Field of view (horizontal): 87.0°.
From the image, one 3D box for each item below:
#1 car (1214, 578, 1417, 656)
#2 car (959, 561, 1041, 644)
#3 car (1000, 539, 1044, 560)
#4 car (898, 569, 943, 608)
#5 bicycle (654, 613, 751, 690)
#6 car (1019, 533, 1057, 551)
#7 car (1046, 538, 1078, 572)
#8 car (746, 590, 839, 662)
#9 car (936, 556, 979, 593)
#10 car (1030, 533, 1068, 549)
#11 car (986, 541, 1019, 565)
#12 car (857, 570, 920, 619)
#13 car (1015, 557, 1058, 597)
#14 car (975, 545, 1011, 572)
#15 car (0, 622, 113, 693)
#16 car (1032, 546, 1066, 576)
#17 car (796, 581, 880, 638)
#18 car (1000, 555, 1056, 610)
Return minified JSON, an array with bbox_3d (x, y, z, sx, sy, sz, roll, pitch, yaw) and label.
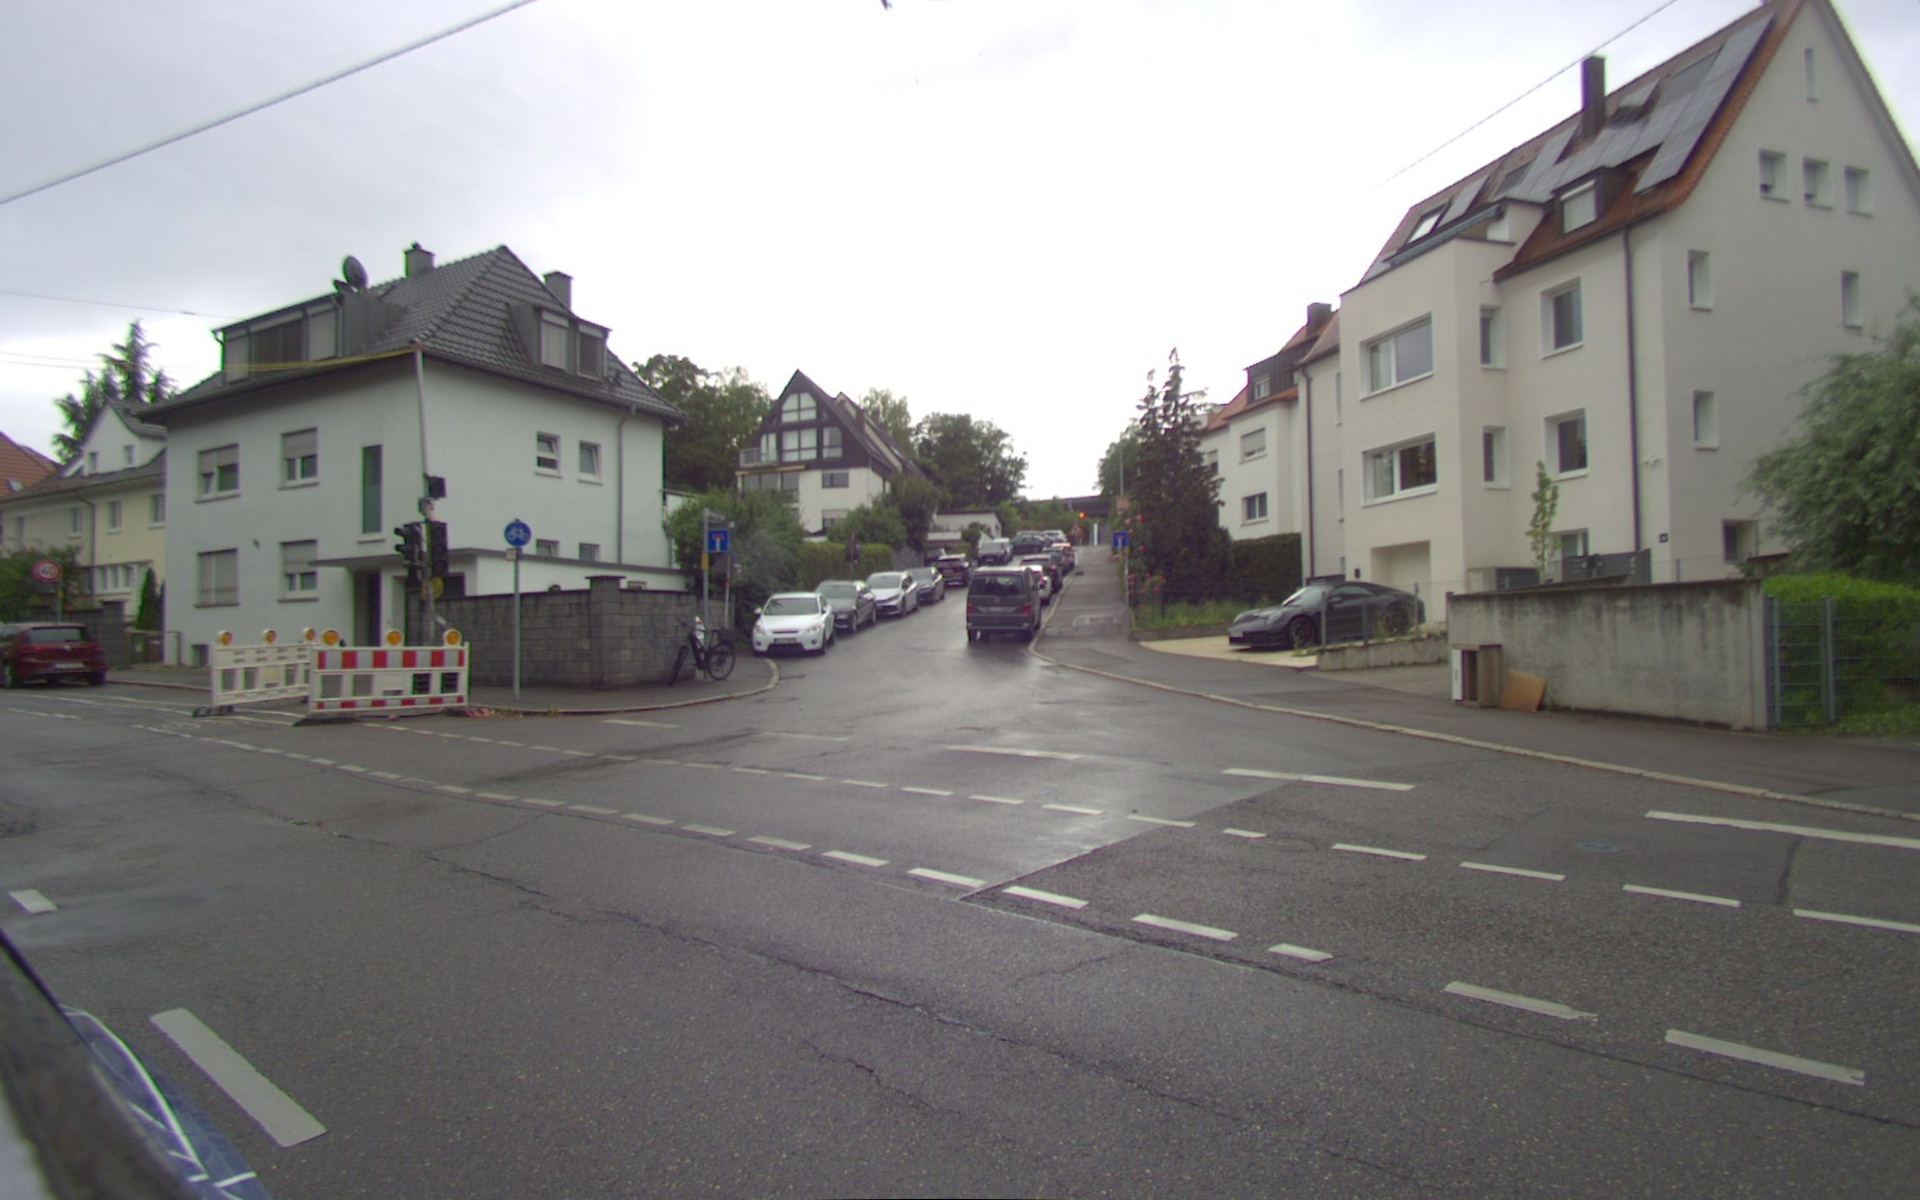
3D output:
[{"bbox_3d":[7.650,0.346,21.845,3.857,1.342,1.572,-4,1,-16],"label":"car"},{"bbox_3d":[1.215,-0.004,28.878,1.893,1.950,3.789,-2,5,9],"label":"car"},{"bbox_3d":[5.135,-4.213,83.770,3.572,1.510,1.578,-2,5,7],"label":"car"},{"bbox_3d":[-1.622,-0.519,42.600,1.320,1.400,3.497,-1,5,7],"label":"car"},{"bbox_3d":[-4.694,0.913,18.546,0.705,1.321,1.713,-1,0,33],"label":"bicycle"},{"bbox_3d":[7.636,-5.656,98.761,3.489,1.510,1.615,-1,6,16],"label":"car"},{"bbox_3d":[6.322,-2.798,62.547,1.677,1.871,3.553,-2,5,9],"label":"car"},{"bbox_3d":[-4.183,0.611,25.787,1.726,1.476,3.561,-2,3,0],"label":"car"},{"bbox_3d":[-0.099,-1.350,52.205,1.323,1.566,3.971,-1,6,13],"label":"car"},{"bbox_3d":[9.133,-6.071,103.786,3.492,1.510,1.614,-1,6,18],"label":"car"},{"bbox_3d":[3.186,-3.527,75.358,1.720,1.510,3.817,-1,6,13],"label":"car"},{"bbox_3d":[-2.561,-0.250,36.949,1.564,1.476,3.847,-1,5,7],"label":"car"},{"bbox_3d":[3.460,-1.073,45.254,1.565,1.479,3.553,-2,5,9],"label":"car"},{"bbox_3d":[2.274,-2.839,68.566,1.720,1.510,3.817,-1,6,13],"label":"car"},{"bbox_3d":[-21.468,1.347,23.370,3.785,1.505,1.877,-3,-3,33],"label":"car"},{"bbox_3d":[5.148,-2.262,58.296,1.677,1.479,3.553,-2,5,9],"label":"car"},{"bbox_3d":[-3.764,0.239,31.799,1.684,1.476,3.847,-2,3,7],"label":"car"},{"bbox_3d":[2.713,-0.739,39.846,1.900,1.850,3.406,-2,5,9],"label":"car"}]
